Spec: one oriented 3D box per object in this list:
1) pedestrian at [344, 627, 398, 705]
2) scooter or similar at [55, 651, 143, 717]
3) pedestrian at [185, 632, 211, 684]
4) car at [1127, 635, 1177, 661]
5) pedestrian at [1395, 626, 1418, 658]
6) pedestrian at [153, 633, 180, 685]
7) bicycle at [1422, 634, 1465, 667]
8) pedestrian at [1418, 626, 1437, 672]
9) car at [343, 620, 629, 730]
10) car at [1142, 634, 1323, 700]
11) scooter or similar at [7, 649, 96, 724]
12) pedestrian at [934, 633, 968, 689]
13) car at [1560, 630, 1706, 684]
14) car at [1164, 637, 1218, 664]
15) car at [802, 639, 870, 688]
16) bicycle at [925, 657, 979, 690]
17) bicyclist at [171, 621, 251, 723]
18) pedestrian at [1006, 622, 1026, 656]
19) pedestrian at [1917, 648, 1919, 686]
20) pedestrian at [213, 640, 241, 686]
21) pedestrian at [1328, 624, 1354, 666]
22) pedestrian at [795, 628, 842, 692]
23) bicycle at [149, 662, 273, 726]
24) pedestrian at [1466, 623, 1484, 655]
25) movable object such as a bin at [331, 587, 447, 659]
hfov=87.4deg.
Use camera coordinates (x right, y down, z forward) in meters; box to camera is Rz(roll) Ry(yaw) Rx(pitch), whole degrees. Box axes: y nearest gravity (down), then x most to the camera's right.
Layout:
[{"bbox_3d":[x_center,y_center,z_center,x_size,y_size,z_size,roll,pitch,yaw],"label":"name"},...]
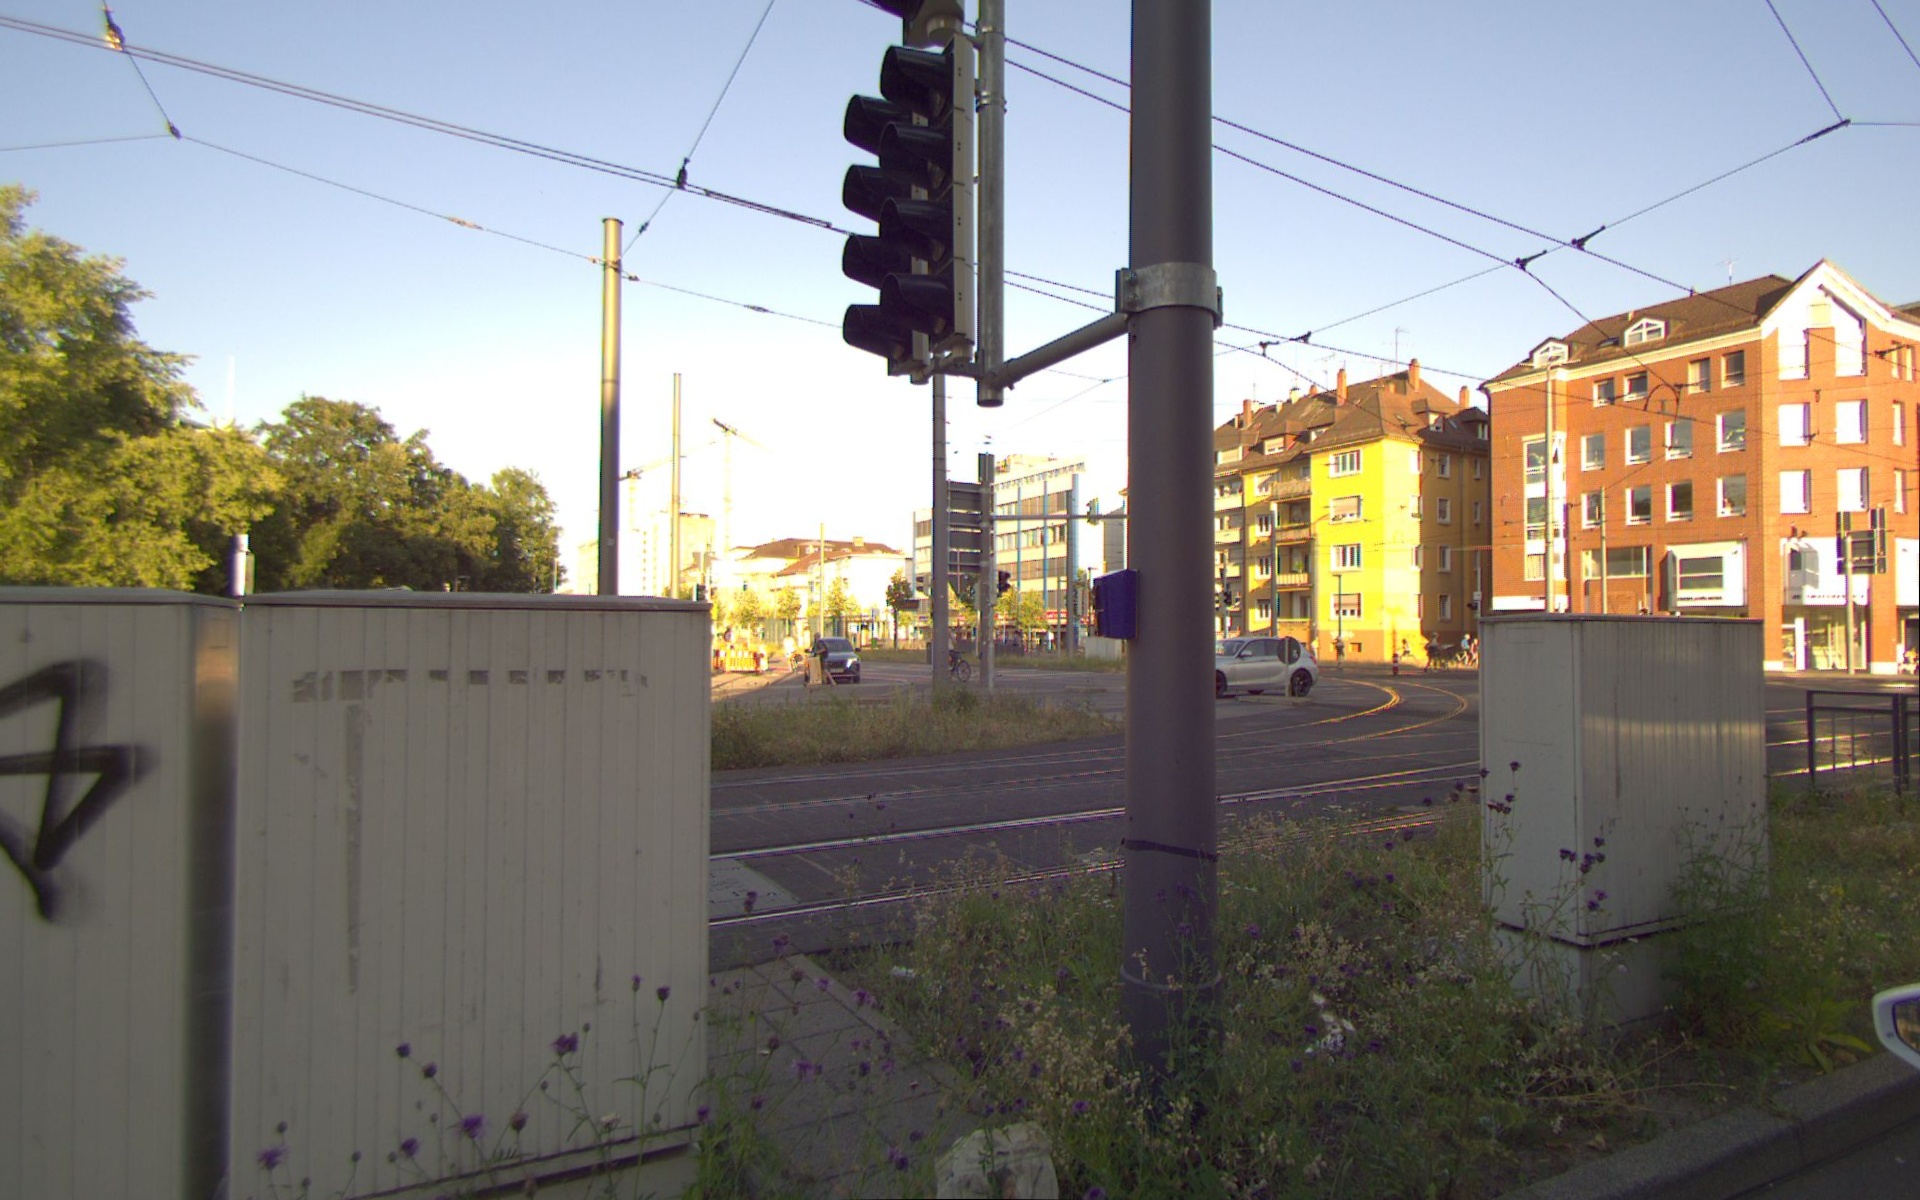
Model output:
[{"bbox_3d":[-14.568,1.609,24.861,0.961,1.892,0.882,0,-2,-18],"label":"pedestrian"},{"bbox_3d":[-17.610,1.693,20.571,0.507,1.288,1.255,-1,-2,24],"label":"scooter or similar"},{"bbox_3d":[-24.846,1.891,32.757,0.594,1.680,0.531,1,-2,-34],"label":"pedestrian"},{"bbox_3d":[16.162,4.024,84.591,1.978,2.040,3.966,1,-1,-32],"label":"car"},{"bbox_3d":[27.331,2.556,61.484,0.830,1.893,0.934,1,0,-35],"label":"pedestrian"},{"bbox_3d":[-25.875,1.907,32.763,0.529,1.680,0.596,-2,-2,45],"label":"pedestrian"},{"bbox_3d":[20.181,2.098,41.916,1.992,1.343,0.615,1,0,-30],"label":"bicycle"},{"bbox_3d":[19.662,2.056,42.264,0.556,1.893,0.499,1,0,-31],"label":"pedestrian"},{"bbox_3d":[-7.774,1.170,16.645,4.065,1.606,1.984,1,-2,-30],"label":"car"},{"bbox_3d":[6.580,1.561,24.234,4.144,1.467,1.665,1,-2,-24],"label":"car"},{"bbox_3d":[-18.384,1.727,20.349,0.507,1.465,1.257,0,-2,11],"label":"scooter or similar"},{"bbox_3d":[-0.312,2.101,34.869,0.887,1.936,0.837,1,-2,-37],"label":"pedestrian"},{"bbox_3d":[21.280,1.771,31.763,4.422,1.606,1.986,1,-2,-28],"label":"car"},{"bbox_3d":[18.558,4.022,80.758,1.978,2.040,3.966,1,-1,-32],"label":"car"},{"bbox_3d":[-4.634,2.270,36.957,1.966,1.639,4.554,0,-2,-14],"label":"car"},{"bbox_3d":[-0.290,2.533,34.836,0.886,1.074,1.989,1,-2,-36],"label":"bicycle"},{"bbox_3d":[-12.958,1.231,17.411,0.966,1.710,0.660,1,-2,-26],"label":"bicyclist"},{"bbox_3d":[3.134,2.185,56.270,0.711,1.892,0.880,-2,-2,44],"label":"pedestrian"},{"bbox_3d":[49.049,3.416,50.786,0.665,1.893,0.634,1,0,0],"label":"pedestrian"},{"bbox_3d":[-24.304,2.072,33.296,0.617,1.515,0.637,1,-2,-27],"label":"pedestrian"},{"bbox_3d":[17.601,2.064,46.395,0.924,1.893,0.839,1,0,4],"label":"pedestrian"},{"bbox_3d":[-4.455,1.863,31.549,1.018,1.970,1.086,2,-3,-45],"label":"pedestrian"},{"bbox_3d":[-12.939,1.613,17.413,1.601,1.021,0.664,1,-2,-26],"label":"bicycle"},{"bbox_3d":[31.029,2.339,60.485,0.796,1.893,0.660,1,0,42],"label":"pedestrian"},{"bbox_3d":[-26.657,1.091,47.032,4.268,3.271,1.996,0,-2,-12],"label":"movable object such as a bin"}]
